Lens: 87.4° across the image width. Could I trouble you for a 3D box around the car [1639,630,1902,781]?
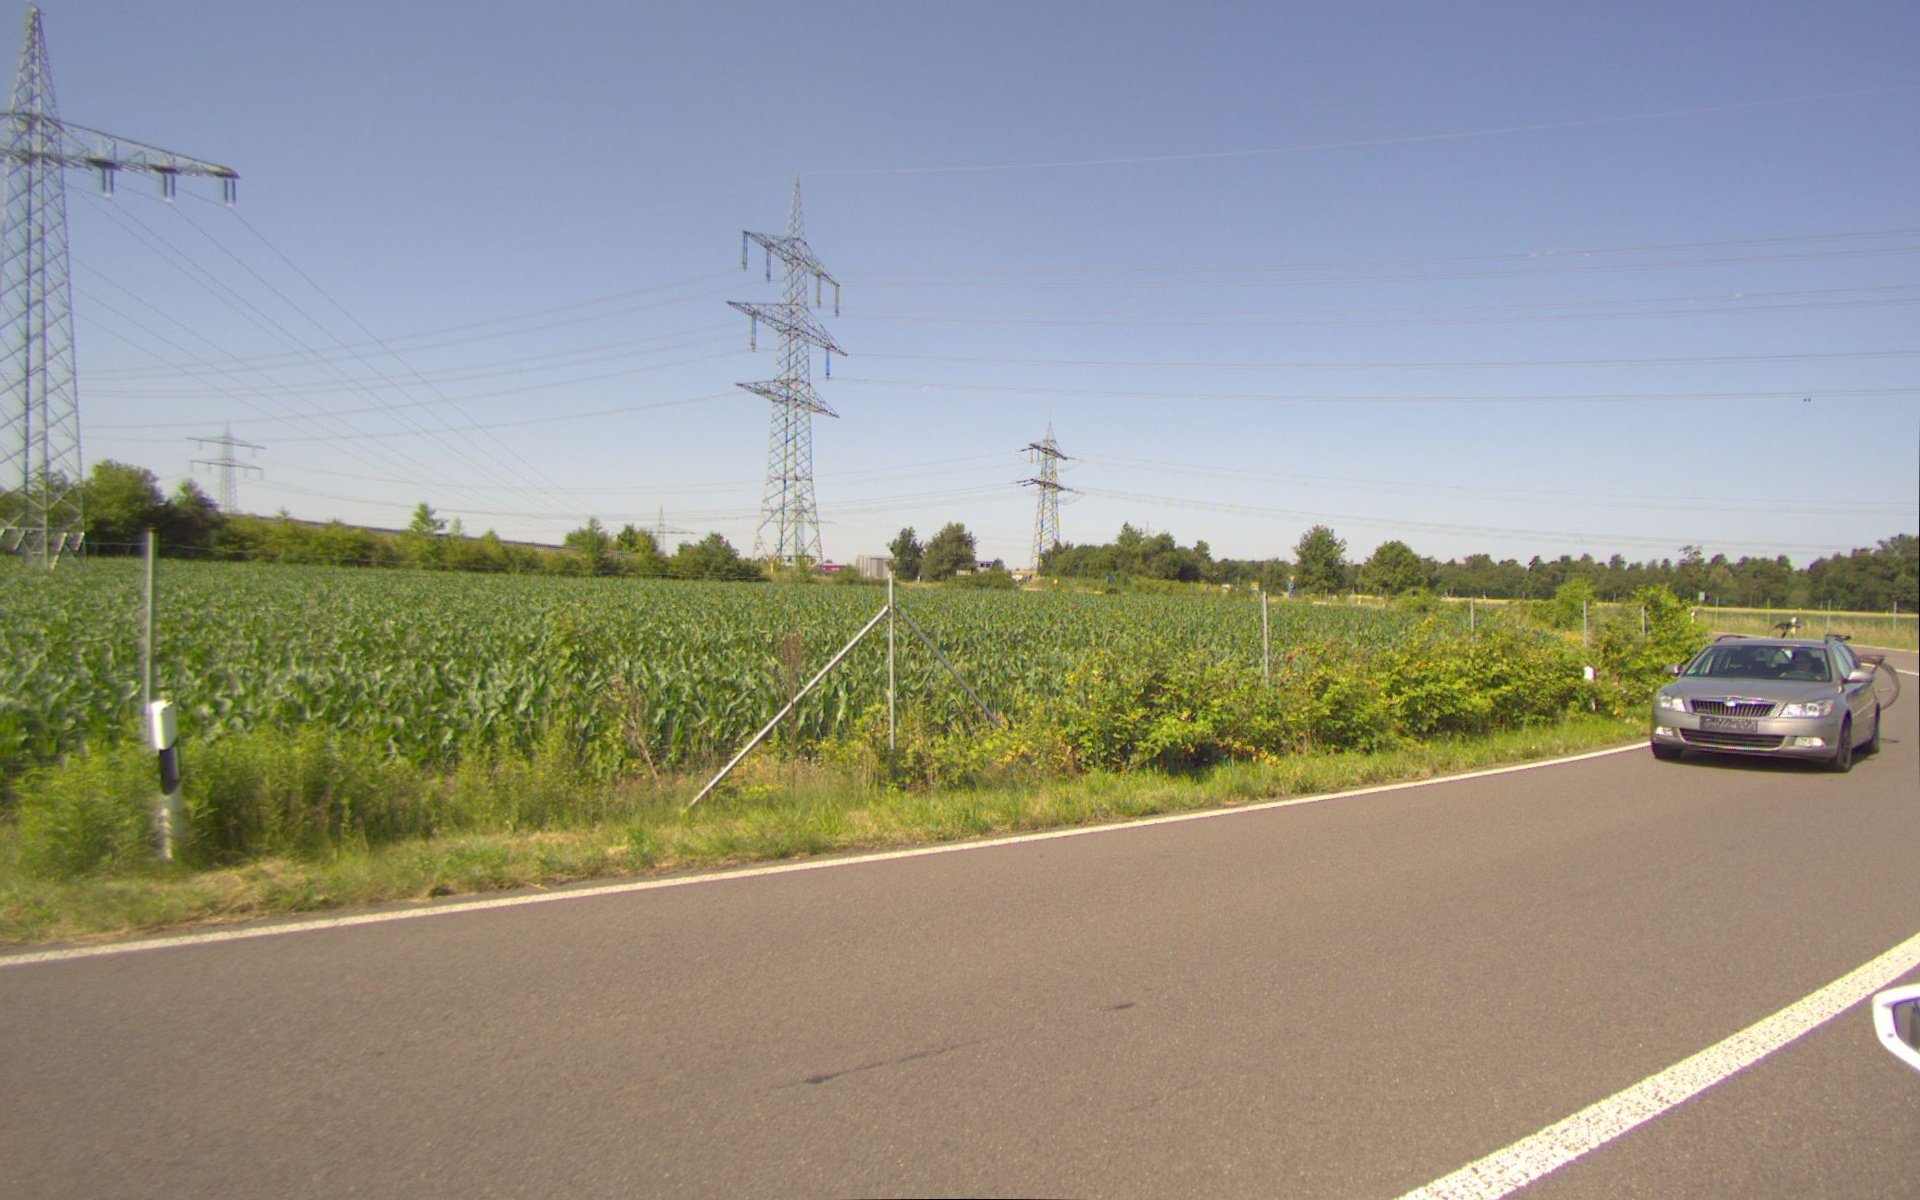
[{"bbox_3d":[10.245,1.144,12.529,5.099,1.500,1.849,1,-3,-43],"label":"car"}]
